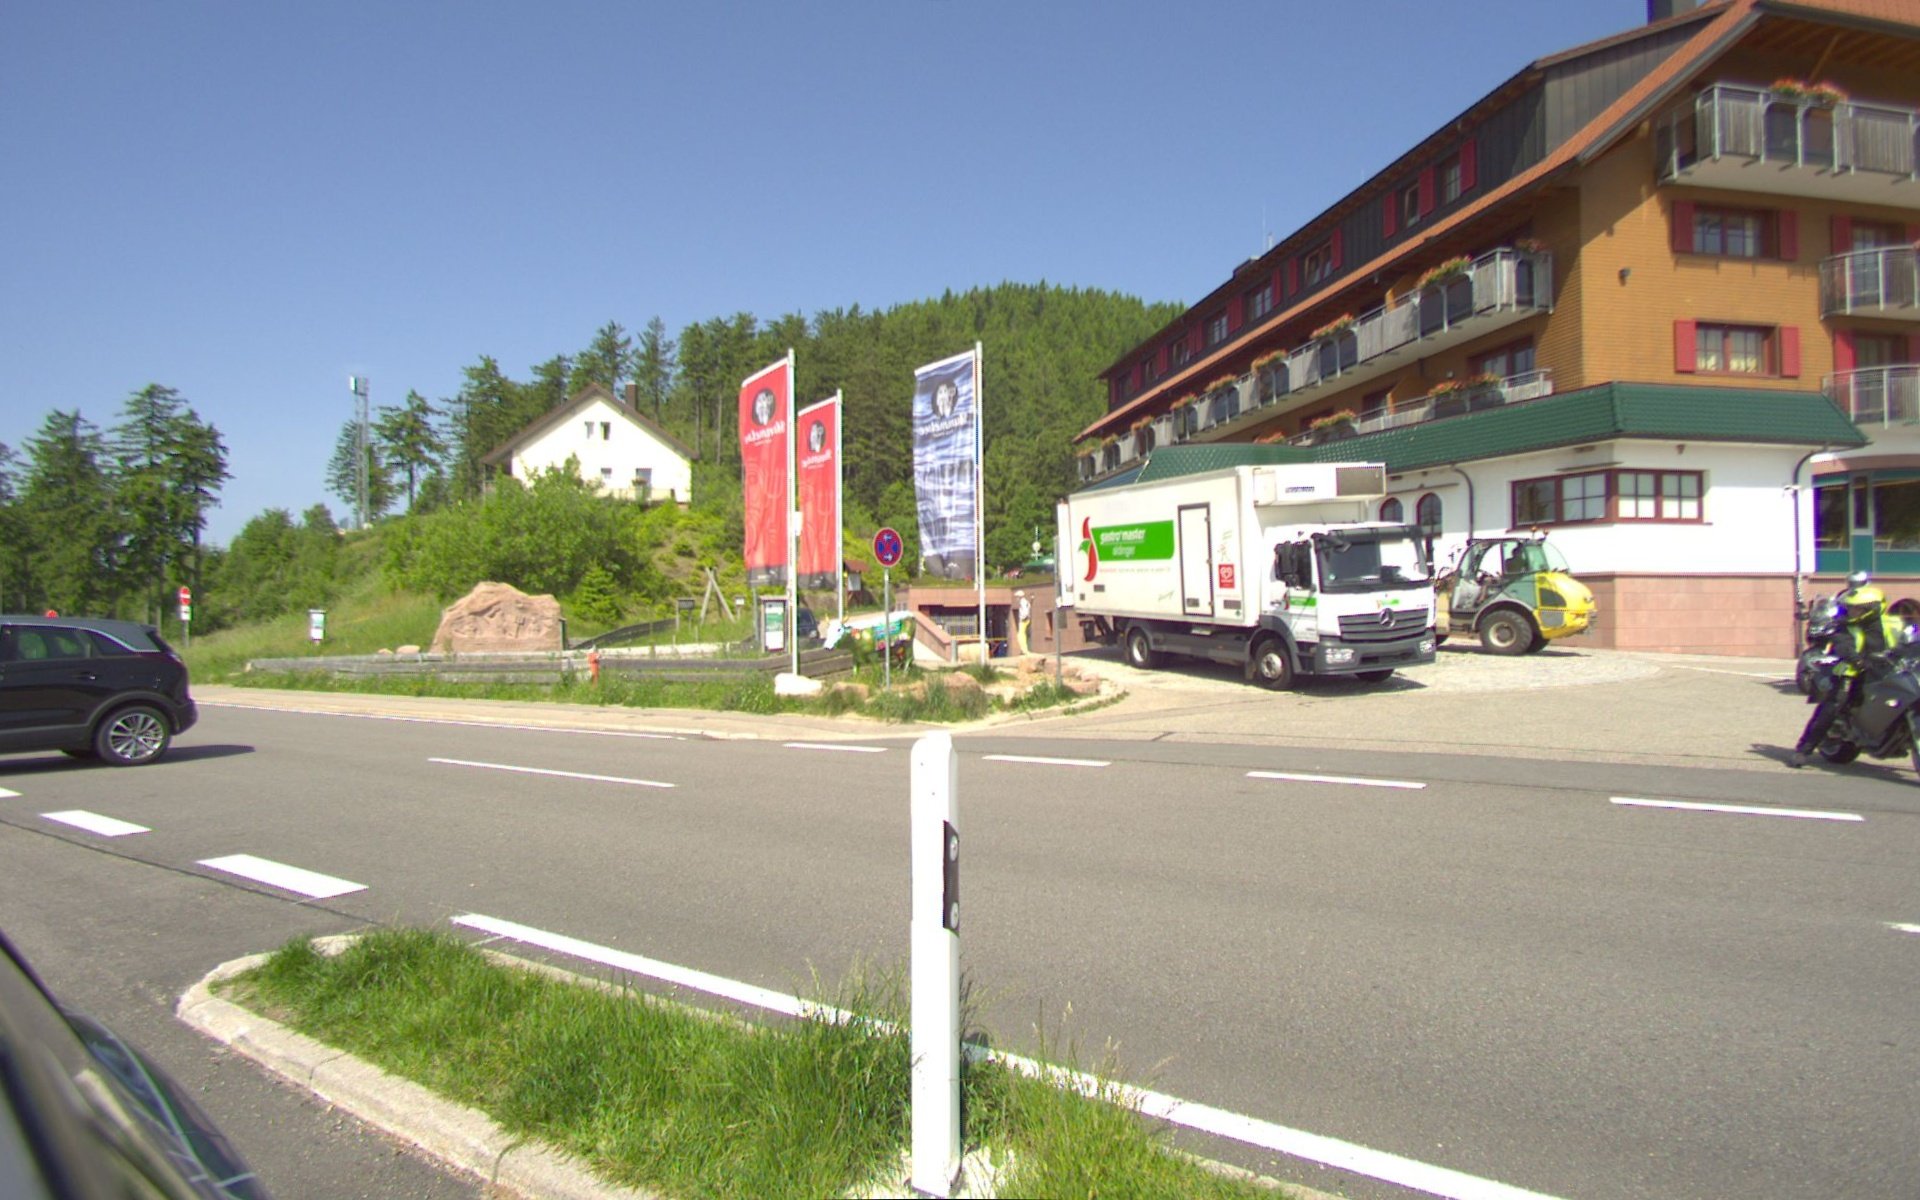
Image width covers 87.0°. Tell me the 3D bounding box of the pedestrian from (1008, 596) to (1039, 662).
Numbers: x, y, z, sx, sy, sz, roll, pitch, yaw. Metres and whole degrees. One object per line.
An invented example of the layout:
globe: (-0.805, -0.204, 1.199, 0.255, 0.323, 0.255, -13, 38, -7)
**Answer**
pedestrian: (1.676, 0.764, 26.784, 0.565, 1.702, 0.655, 0, -2, -21)

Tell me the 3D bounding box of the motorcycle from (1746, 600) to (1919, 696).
motorcycle: (12.704, 0.661, 14.466, 2.244, 1.266, 0.879, -1, 1, -1)

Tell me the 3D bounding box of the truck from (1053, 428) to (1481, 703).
truck: (5.122, -0.619, 19.367, 3.017, 4.001, 8.800, -3, 2, -20)

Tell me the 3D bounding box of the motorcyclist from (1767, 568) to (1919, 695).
motorcyclist: (12.623, 0.419, 14.455, 1.431, 1.730, 0.926, -1, 1, -1)

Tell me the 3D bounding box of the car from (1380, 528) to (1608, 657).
car: (11.374, -0.156, 21.658, 3.996, 2.515, 1.974, 1, -1, 39)

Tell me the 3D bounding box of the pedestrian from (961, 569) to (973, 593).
pedestrian: (0.438, -1.255, 67.370, 0.565, 1.553, 0.633, -6, 4, -9)

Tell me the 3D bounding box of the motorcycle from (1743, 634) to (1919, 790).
motorcycle: (8.052, 0.911, 8.864, 0.815, 1.186, 2.281, -1, -1, 7)

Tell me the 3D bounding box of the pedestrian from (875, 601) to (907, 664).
pedestrian: (-1.930, 0.899, 28.291, 0.687, 1.729, 0.801, 0, -2, -21)

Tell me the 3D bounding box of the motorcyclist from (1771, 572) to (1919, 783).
motorcyclist: (8.018, 0.628, 8.736, 1.017, 1.688, 1.290, -1, -1, 8)

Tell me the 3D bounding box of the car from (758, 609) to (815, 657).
car: (-6.118, 1.129, 36.103, 1.850, 1.364, 4.008, 0, 3, -7)

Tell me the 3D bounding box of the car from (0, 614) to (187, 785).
car: (-10.321, 0.975, 9.796, 1.980, 1.629, 4.104, -1, -1, 32)
